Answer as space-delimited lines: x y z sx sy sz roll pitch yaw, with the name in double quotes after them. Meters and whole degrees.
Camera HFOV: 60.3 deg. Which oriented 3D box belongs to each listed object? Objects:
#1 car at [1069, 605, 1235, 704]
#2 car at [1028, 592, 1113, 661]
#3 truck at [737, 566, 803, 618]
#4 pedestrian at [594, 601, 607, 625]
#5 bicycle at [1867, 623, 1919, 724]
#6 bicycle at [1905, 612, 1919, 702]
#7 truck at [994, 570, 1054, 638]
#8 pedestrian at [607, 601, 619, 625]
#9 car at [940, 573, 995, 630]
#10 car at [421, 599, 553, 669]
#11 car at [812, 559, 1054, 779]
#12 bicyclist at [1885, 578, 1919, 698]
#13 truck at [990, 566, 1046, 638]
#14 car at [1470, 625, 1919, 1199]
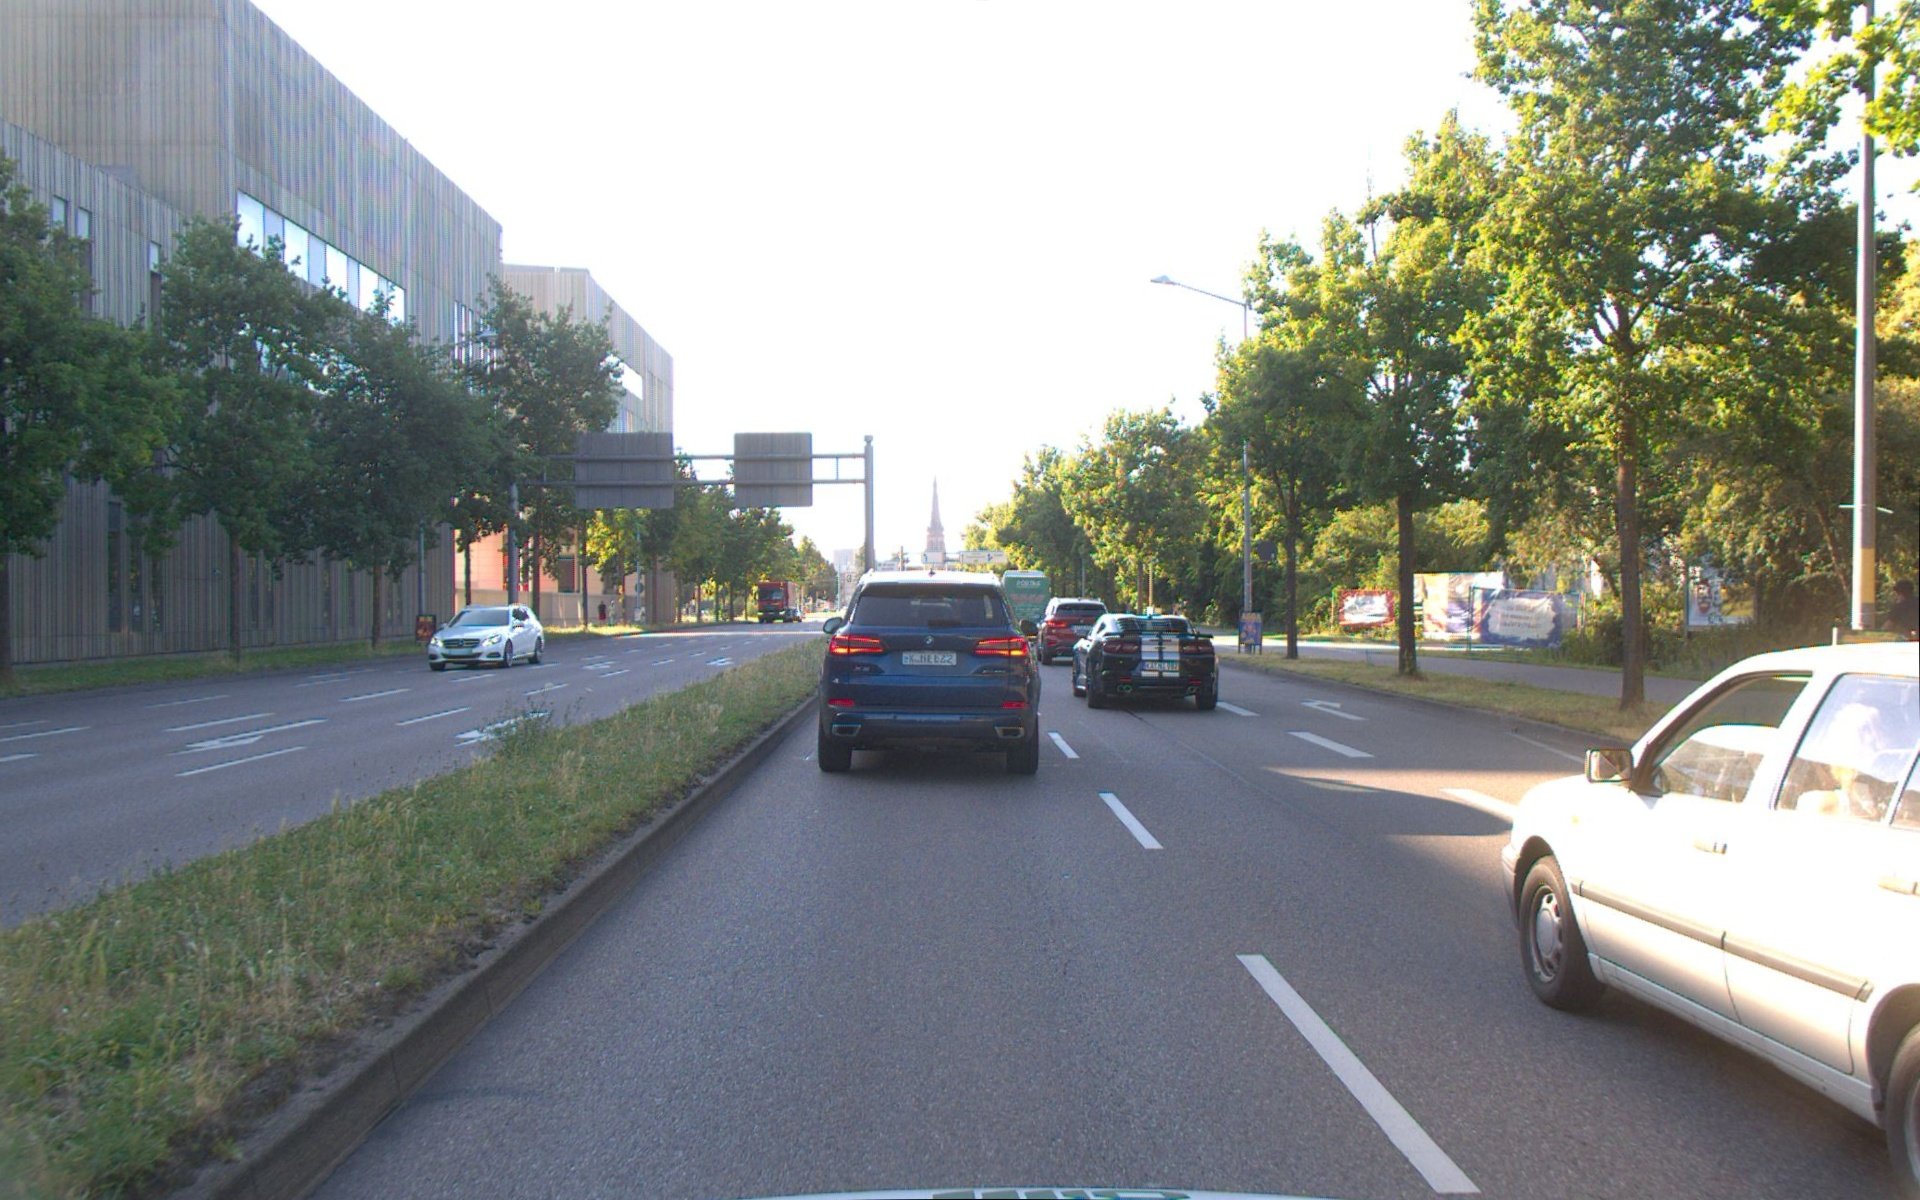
2.770 0.792 24.696 1.953 1.317 3.999 1 -1 -1 "car"
2.679 0.666 40.789 1.760 1.586 3.999 1 -1 -1 "car"
-16.340 -0.580 143.146 3.906 4.160 11.450 1 -1 2 "truck"
-23.761 0.847 109.344 0.614 1.548 0.718 1 -1 2 "pedestrian"
10.979 0.829 18.681 0.553 1.132 1.621 1 -1 -1 "bicycle"
12.369 0.714 20.330 0.553 1.132 1.621 1 -1 -1 "bicycle"
2.311 0.188 60.476 1.955 2.356 3.999 1 -1 -1 "truck"
-22.845 0.856 108.952 0.614 1.548 0.718 1 -1 2 "pedestrian"
0.325 0.114 79.680 2.095 2.621 5.080 1 -1 -6 "car"
-11.476 0.824 40.451 1.954 1.477 4.712 -4 -1 -2 "car"
-0.249 0.608 15.782 1.953 1.764 4.531 1 -1 -1 "car"
10.980 0.436 18.736 0.532 1.339 0.835 1 -1 -1 "bicyclist"
2.259 0.102 65.221 1.955 2.715 3.999 1 -1 -1 "truck"
3.045 0.817 5.158 1.547 1.438 4.060 1 -1 -2 "car"
